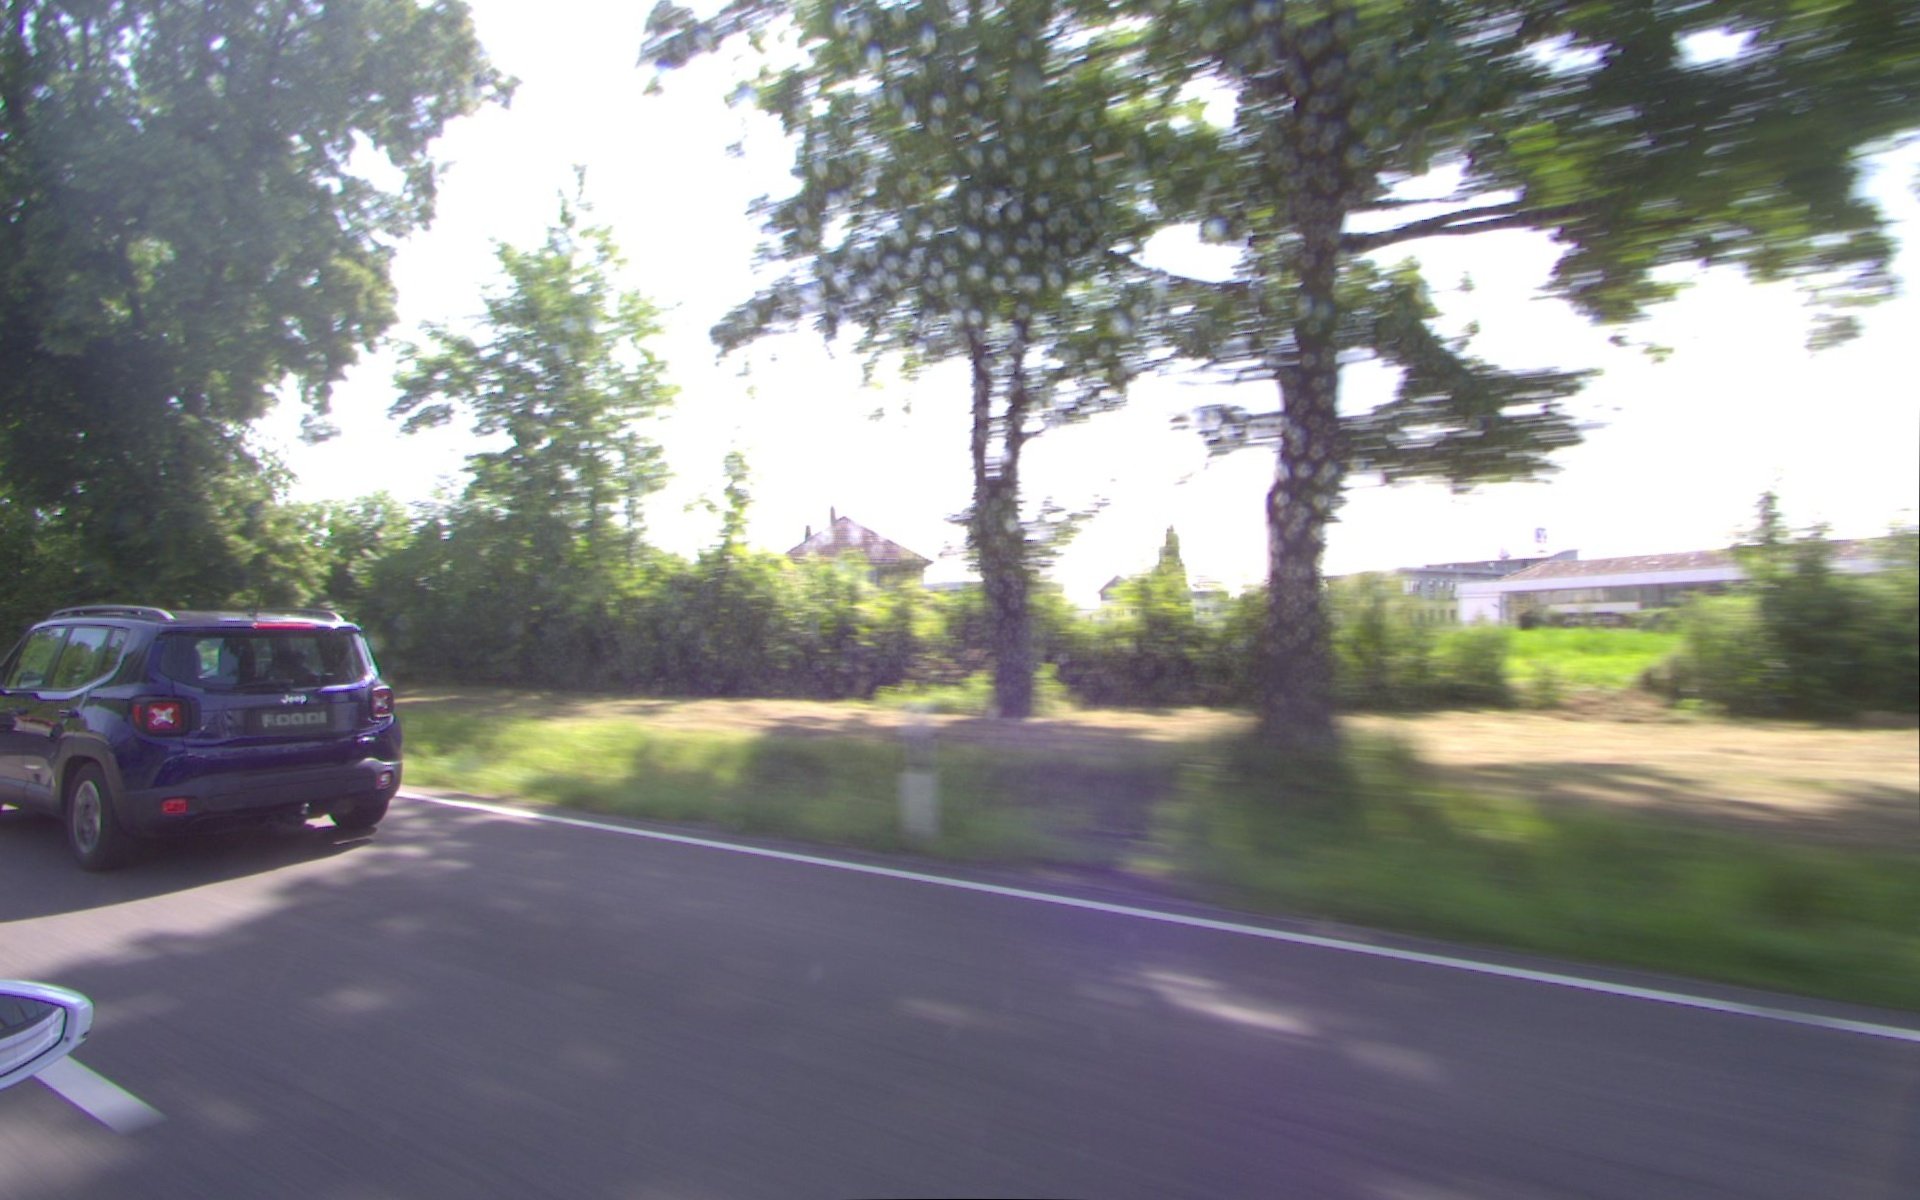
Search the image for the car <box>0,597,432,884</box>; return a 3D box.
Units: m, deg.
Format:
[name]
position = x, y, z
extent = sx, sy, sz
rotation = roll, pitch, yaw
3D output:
[car]
position = -6.030, 0.862, 7.626
extent = 3.942, 1.676, 1.767
rotation = -1, 0, 31
